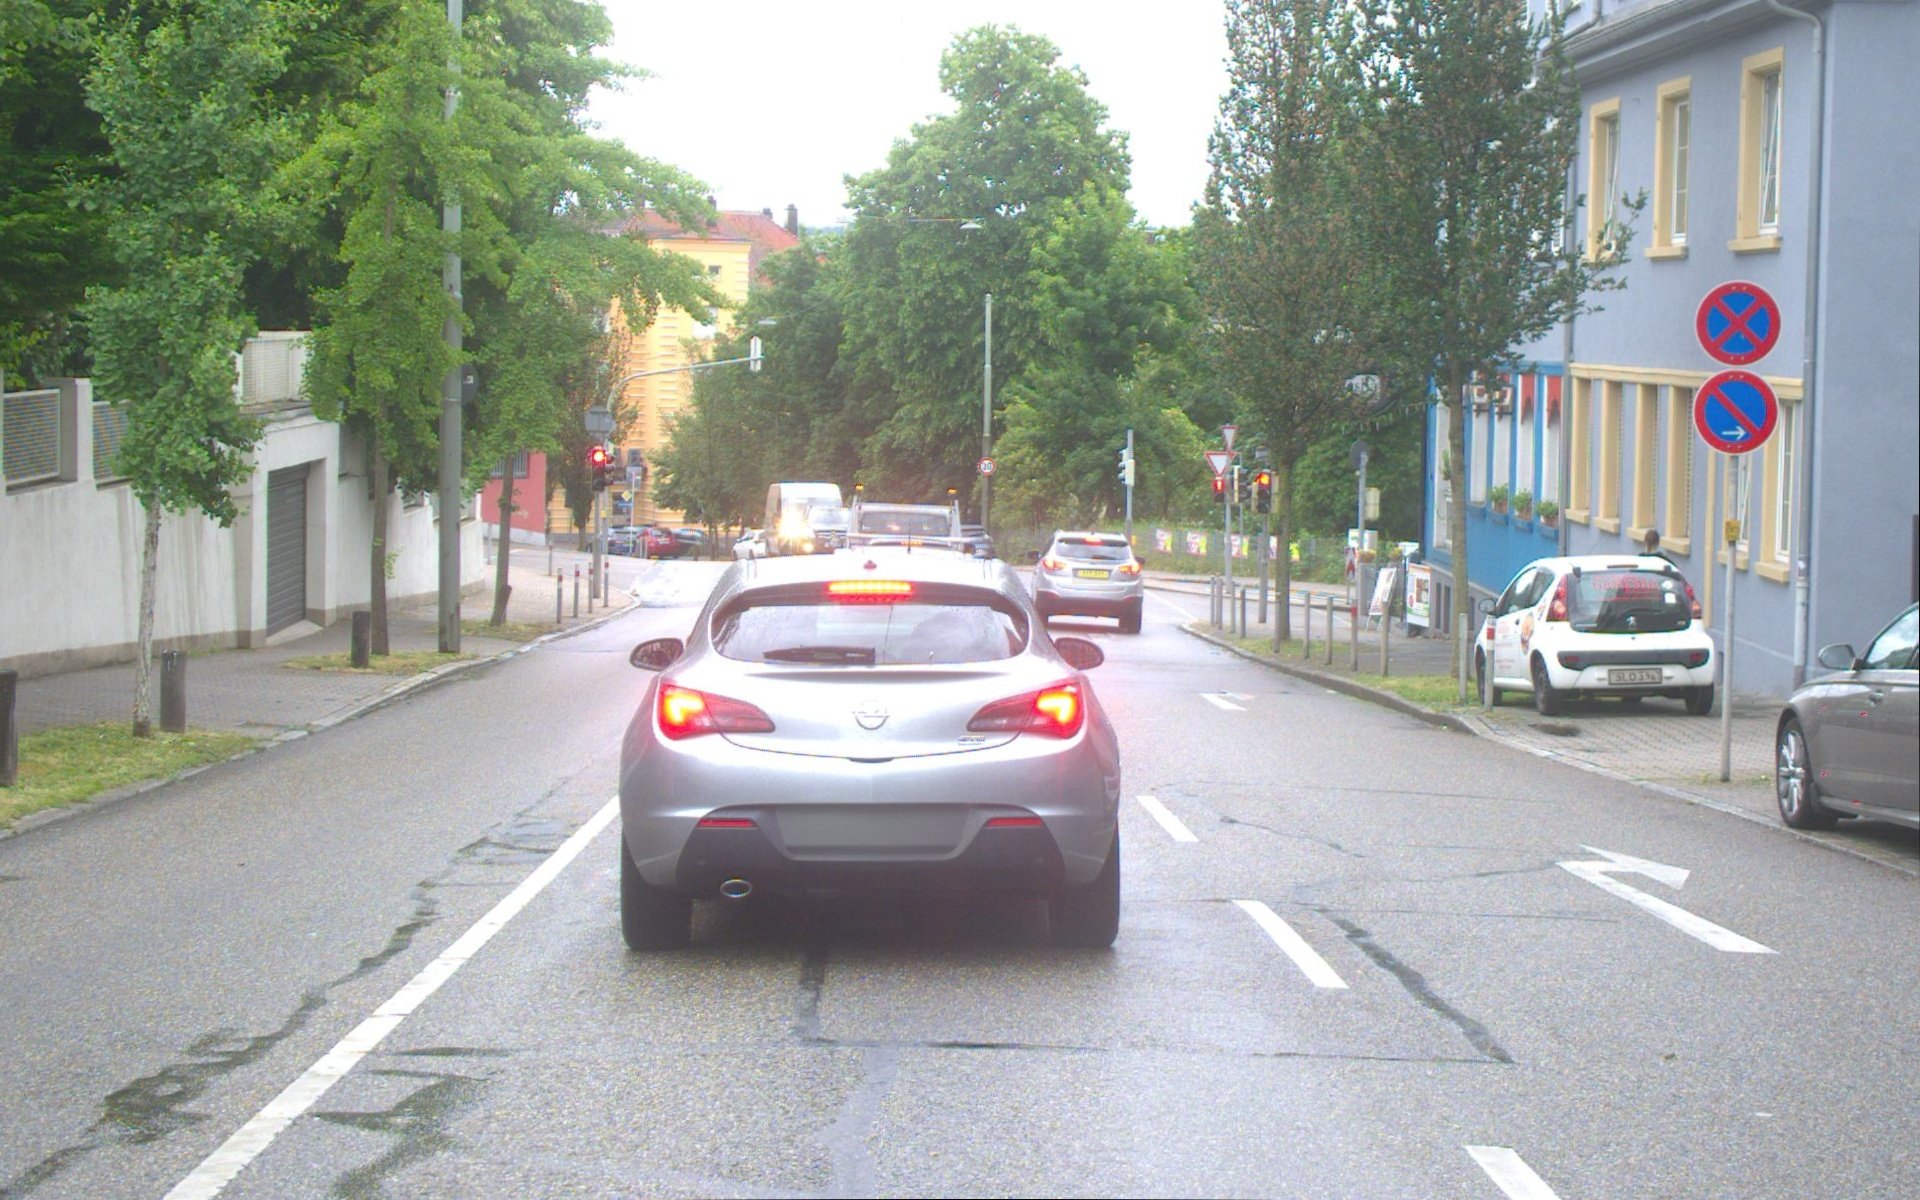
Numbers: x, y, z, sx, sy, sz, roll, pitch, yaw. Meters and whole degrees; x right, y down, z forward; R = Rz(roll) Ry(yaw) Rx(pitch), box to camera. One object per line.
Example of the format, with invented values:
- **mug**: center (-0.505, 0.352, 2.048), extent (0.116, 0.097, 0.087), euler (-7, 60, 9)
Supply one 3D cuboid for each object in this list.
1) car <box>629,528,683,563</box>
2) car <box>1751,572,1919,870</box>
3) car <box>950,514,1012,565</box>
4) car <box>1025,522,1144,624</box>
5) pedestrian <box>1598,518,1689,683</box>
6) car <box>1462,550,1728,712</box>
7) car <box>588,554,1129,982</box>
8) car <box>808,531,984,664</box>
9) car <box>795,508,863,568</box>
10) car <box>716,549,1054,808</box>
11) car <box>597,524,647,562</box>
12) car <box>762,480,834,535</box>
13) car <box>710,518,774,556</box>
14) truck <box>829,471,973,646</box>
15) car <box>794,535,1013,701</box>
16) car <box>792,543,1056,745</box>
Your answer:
- **car**: center (-14.369, -2.589, 162.324), extent (1.722, 1.632, 3.881), euler (0, 1, -18)
- **car**: center (5.765, 0.620, 18.088), extent (1.962, 1.443, 4.527), euler (0, 1, -3)
- **car**: center (0.675, -1.991, 113.153), extent (1.722, 1.632, 3.880), euler (0, 1, -4)
- **car**: center (2.118, -0.484, 59.385), extent (1.722, 1.708, 3.880), euler (0, 1, -3)
- **pedestrian**: center (7.330, -0.001, 36.897), extent (0.783, 1.723, 0.651), euler (2, 1, -1)
- **car**: center (6.017, 0.252, 32.967), extent (1.722, 1.443, 3.880), euler (0, 1, -2)
- **car**: center (-0.433, 0.552, 13.715), extent (1.837, 1.429, 3.880), euler (1, 1, -3)
- **car**: center (-0.802, -0.069, 41.350), extent (1.962, 1.443, 4.306), euler (2, 1, -2)
- **car**: center (-3.682, -1.746, 96.849), extent (1.870, 1.632, 3.880), euler (0, 1, -2)
- **car**: center (-0.515, 0.438, 22.591), extent (1.962, 1.443, 4.306), euler (2, 1, -2)
- **car**: center (-15.055, -2.532, 152.983), extent (1.722, 1.632, 3.881), euler (2, 0, -12)
- **car**: center (-4.941, -2.804, 104.470), extent (1.722, 1.632, 3.881), euler (0, 1, -9)
- **car**: center (-9.118, -2.635, 143.567), extent (1.722, 1.538, 3.881), euler (0, 1, -18)
- **truck**: center (-0.918, -0.651, 51.343), extent (1.962, 2.420, 4.936), euler (2, 1, -2)
- **car**: center (-0.587, 0.122, 33.691), extent (1.962, 1.443, 4.306), euler (2, 1, -2)
- **car**: center (-0.342, 0.303, 28.313), extent (1.962, 1.443, 4.306), euler (2, 1, -2)
